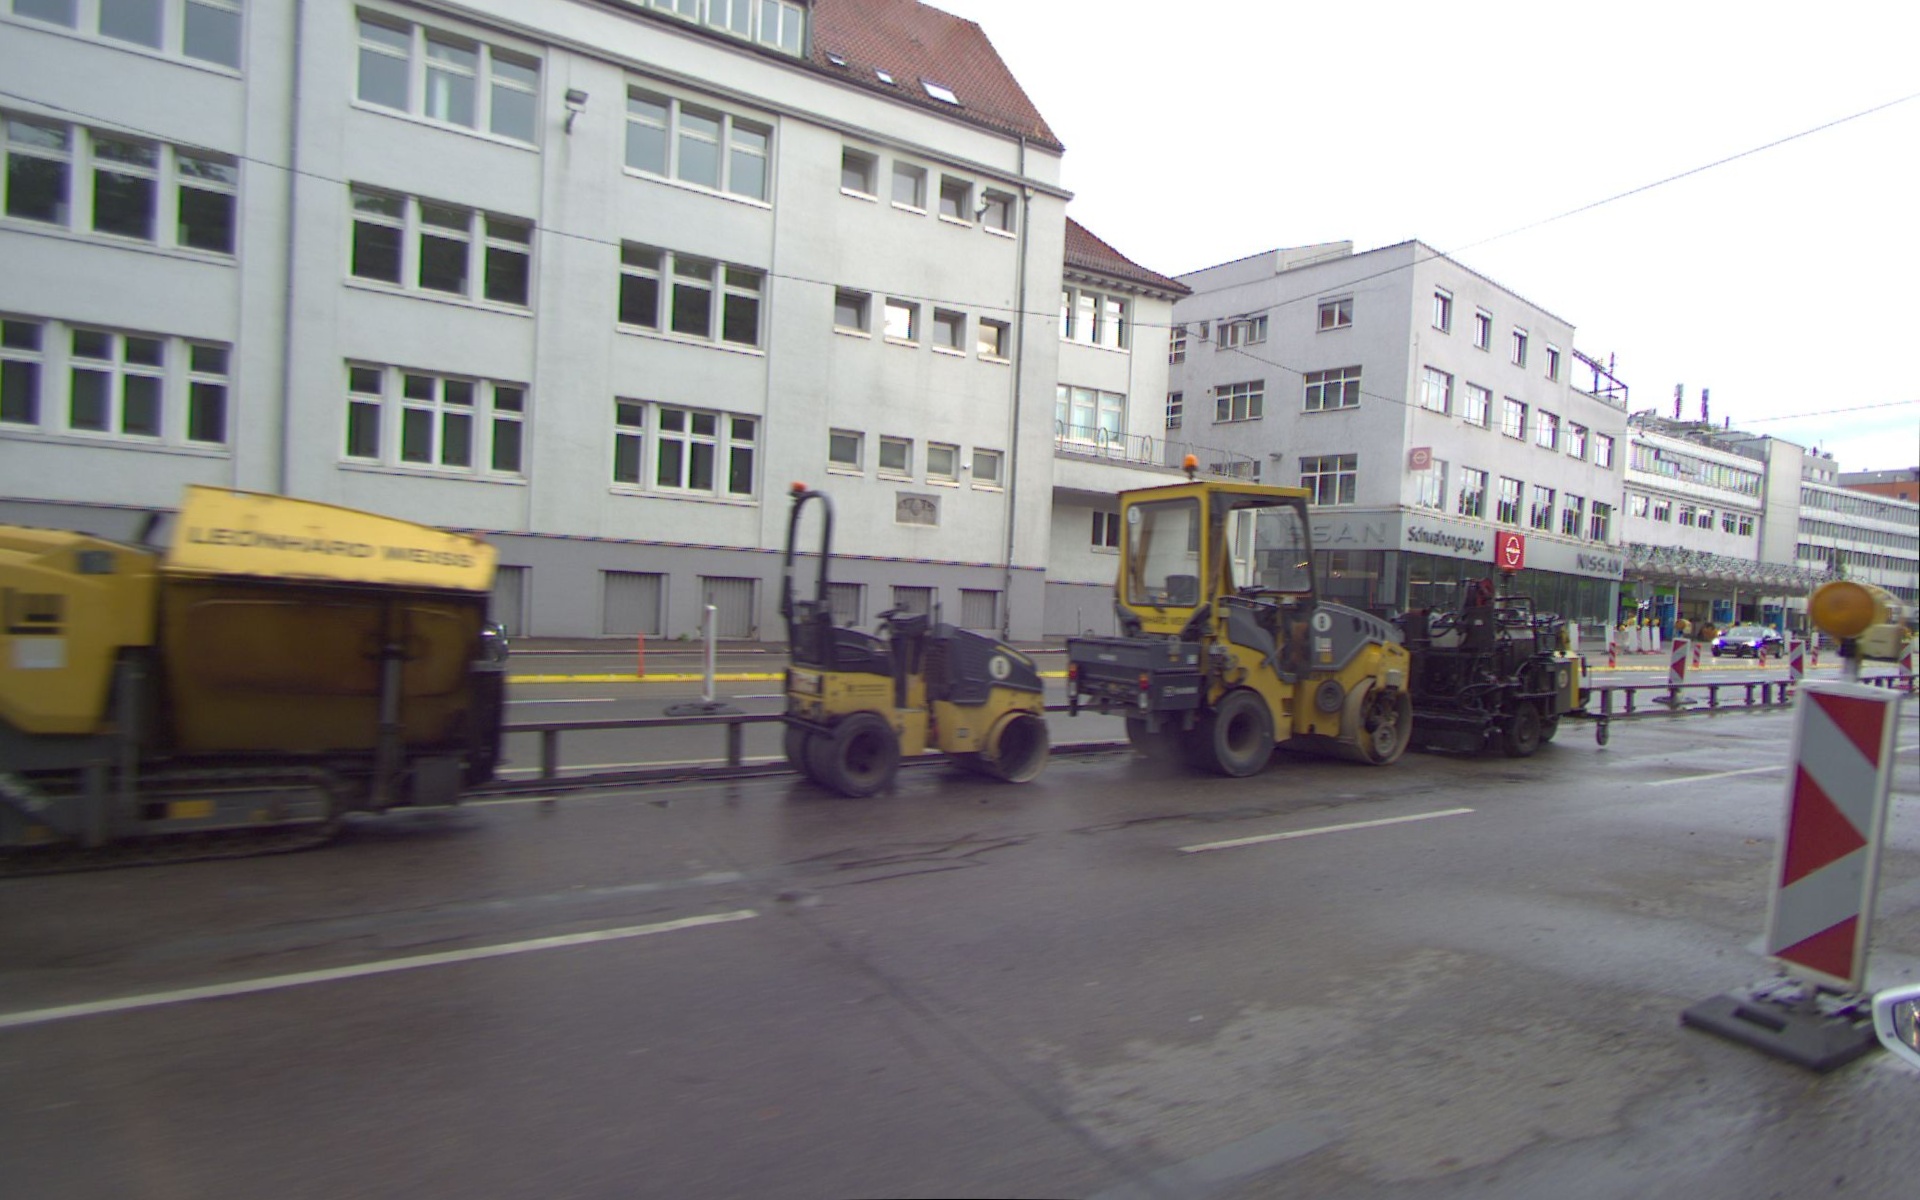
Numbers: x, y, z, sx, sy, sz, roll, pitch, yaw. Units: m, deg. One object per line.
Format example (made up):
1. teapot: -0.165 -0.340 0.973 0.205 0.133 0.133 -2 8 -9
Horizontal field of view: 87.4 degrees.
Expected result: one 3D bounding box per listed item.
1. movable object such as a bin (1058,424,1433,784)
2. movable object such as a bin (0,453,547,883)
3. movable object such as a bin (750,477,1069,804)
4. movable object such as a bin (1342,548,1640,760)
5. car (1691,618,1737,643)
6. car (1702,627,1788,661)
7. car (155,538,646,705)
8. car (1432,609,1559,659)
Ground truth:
1. movable object such as a bin: 2.917 0.070 10.071 3.680 3.048 1.459 1 -1 -30
2. movable object such as a bin: -5.034 0.323 5.539 4.968 2.118 1.357 1 1 -29
3. movable object such as a bin: -0.435 0.326 8.716 2.378 2.433 1.403 1 -1 -31
4. movable object such as a bin: 6.344 0.592 11.953 3.312 2.178 1.706 1 -1 -32
5. car: 57.734 2.288 76.978 1.771 1.677 3.997 4 2 23
6. car: 36.081 2.034 46.138 4.203 1.424 1.753 2 0 -31
7. car: -6.609 0.233 12.441 4.921 1.729 1.985 1 2 -28
8. car: 18.606 1.162 34.846 4.506 1.564 1.824 1 1 -32
